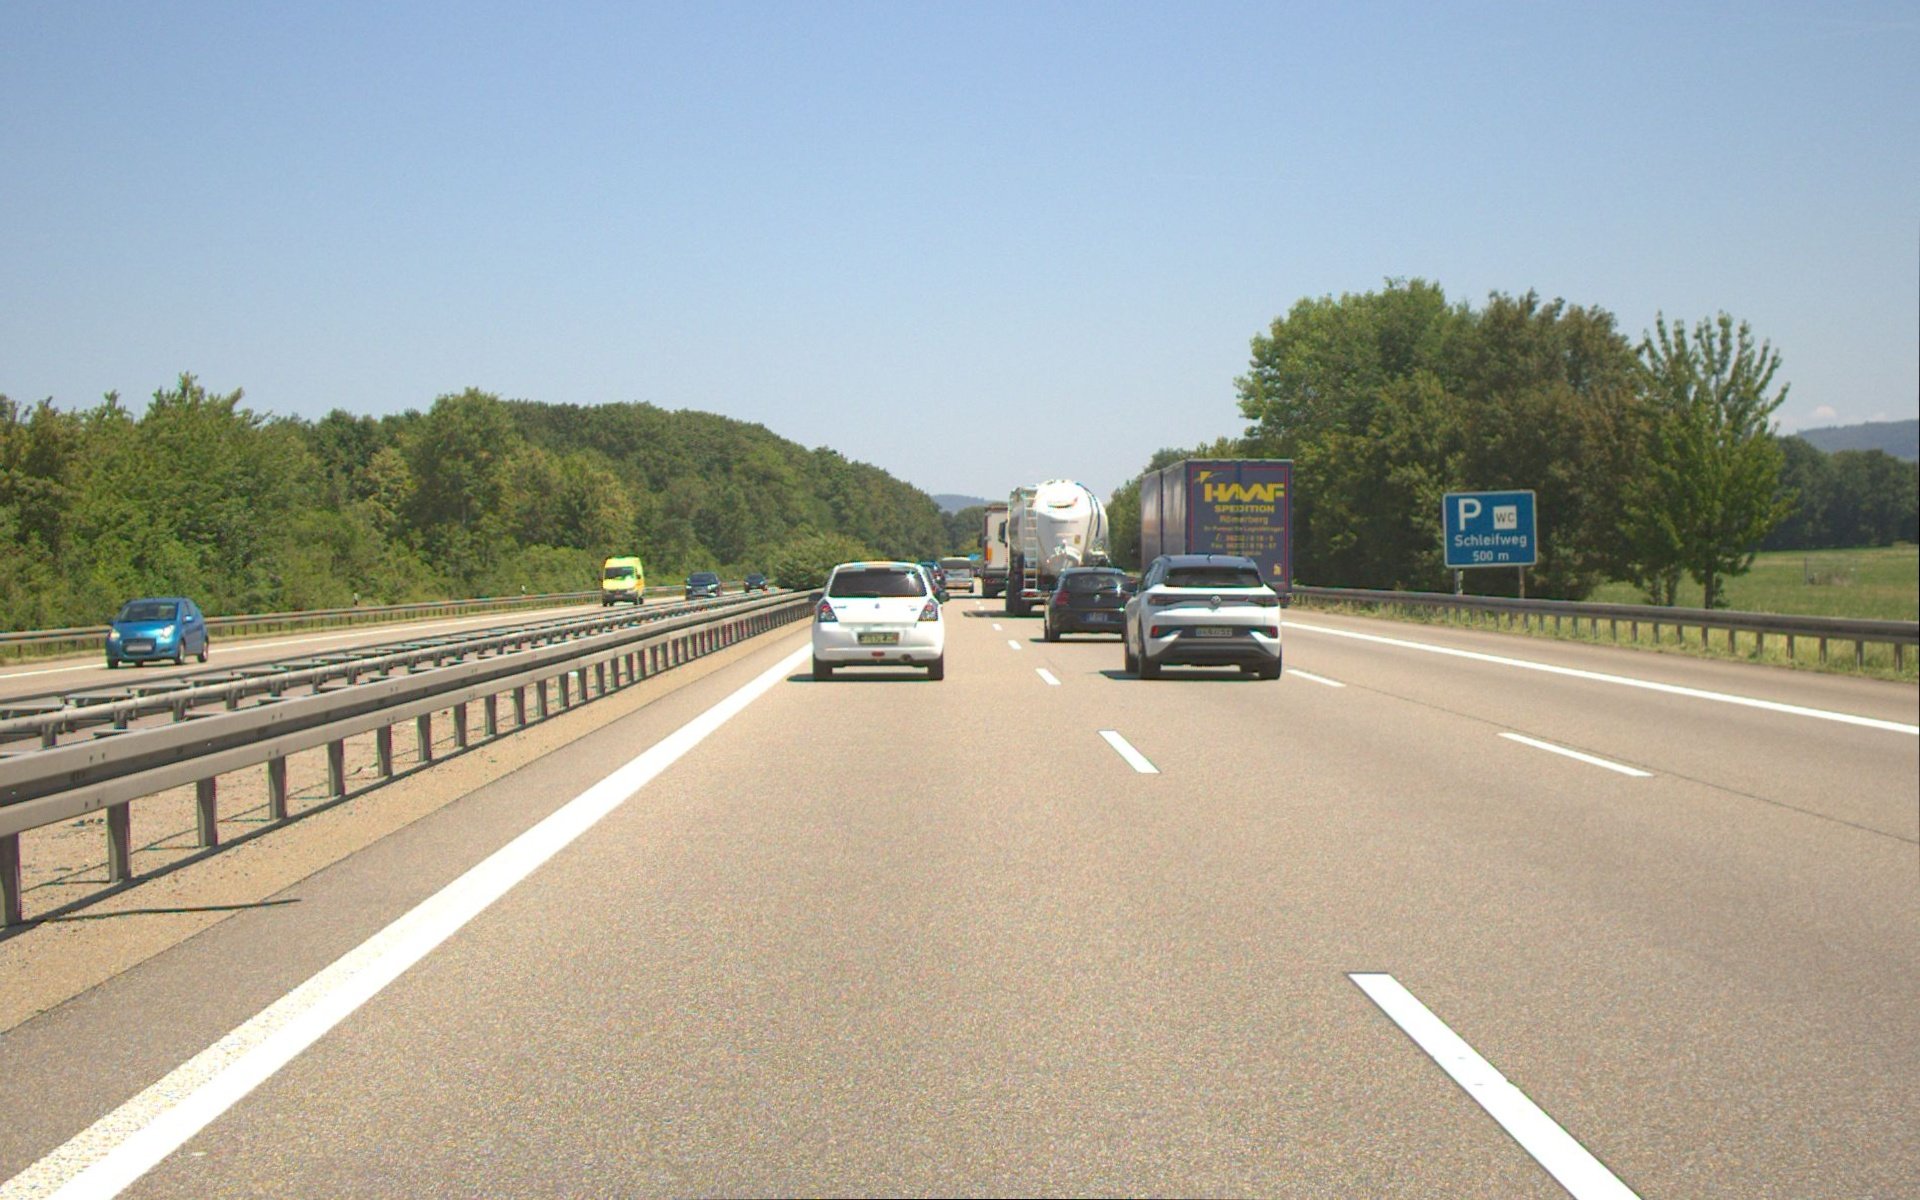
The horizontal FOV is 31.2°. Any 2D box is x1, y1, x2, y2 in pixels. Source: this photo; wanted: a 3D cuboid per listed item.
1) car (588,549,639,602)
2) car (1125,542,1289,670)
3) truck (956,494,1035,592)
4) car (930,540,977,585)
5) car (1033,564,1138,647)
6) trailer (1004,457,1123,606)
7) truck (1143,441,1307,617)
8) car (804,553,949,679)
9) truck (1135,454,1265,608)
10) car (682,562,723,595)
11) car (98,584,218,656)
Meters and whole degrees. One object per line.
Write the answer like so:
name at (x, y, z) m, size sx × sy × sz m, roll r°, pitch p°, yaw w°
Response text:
car at (-19.032, -1.344, 189.083) m, size 2.165 × 2.770 × 5.800 m, roll -3°, pitch 1°, yaw -1°
car at (3.224, 0.050, 45.641) m, size 1.802 × 1.597 × 4.381 m, roll 1°, pitch 1°, yaw 0°
truck at (1.584, -2.568, 155.899) m, size 3.394 × 4.199 × 12.083 m, roll 1°, pitch 1°, yaw 0°
car at (-0.334, -2.032, 185.572) m, size 2.475 × 2.346 × 5.181 m, roll 1°, pitch 1°, yaw 0°
car at (2.397, 0.087, 66.476) m, size 1.850 × 1.518 × 3.957 m, roll 1°, pitch 1°, yaw 0°
trailer at (2.923, -1.970, 100.741) m, size 2.911 × 4.055 × 12.419 m, roll 1°, pitch 1°, yaw -1°
truck at (6.683, -1.790, 89.132) m, size 3.109 × 4.124 × 15.511 m, roll 1°, pitch 1°, yaw 0°
car at (-1.080, 0.174, 44.732) m, size 1.799 × 1.546 × 3.610 m, roll 1°, pitch 1°, yaw -1°
truck at (6.688, -1.928, 97.048) m, size 3.109 × 4.124 × 8.056 m, roll 1°, pitch 1°, yaw 0°
car at (-14.028, -1.175, 187.789) m, size 1.868 × 1.684 × 4.627 m, roll -3°, pitch 1°, yaw -1°
car at (-17.260, 0.422, 74.086) m, size 1.564 × 1.419 × 3.471 m, roll -3°, pitch 0°, yaw 3°
